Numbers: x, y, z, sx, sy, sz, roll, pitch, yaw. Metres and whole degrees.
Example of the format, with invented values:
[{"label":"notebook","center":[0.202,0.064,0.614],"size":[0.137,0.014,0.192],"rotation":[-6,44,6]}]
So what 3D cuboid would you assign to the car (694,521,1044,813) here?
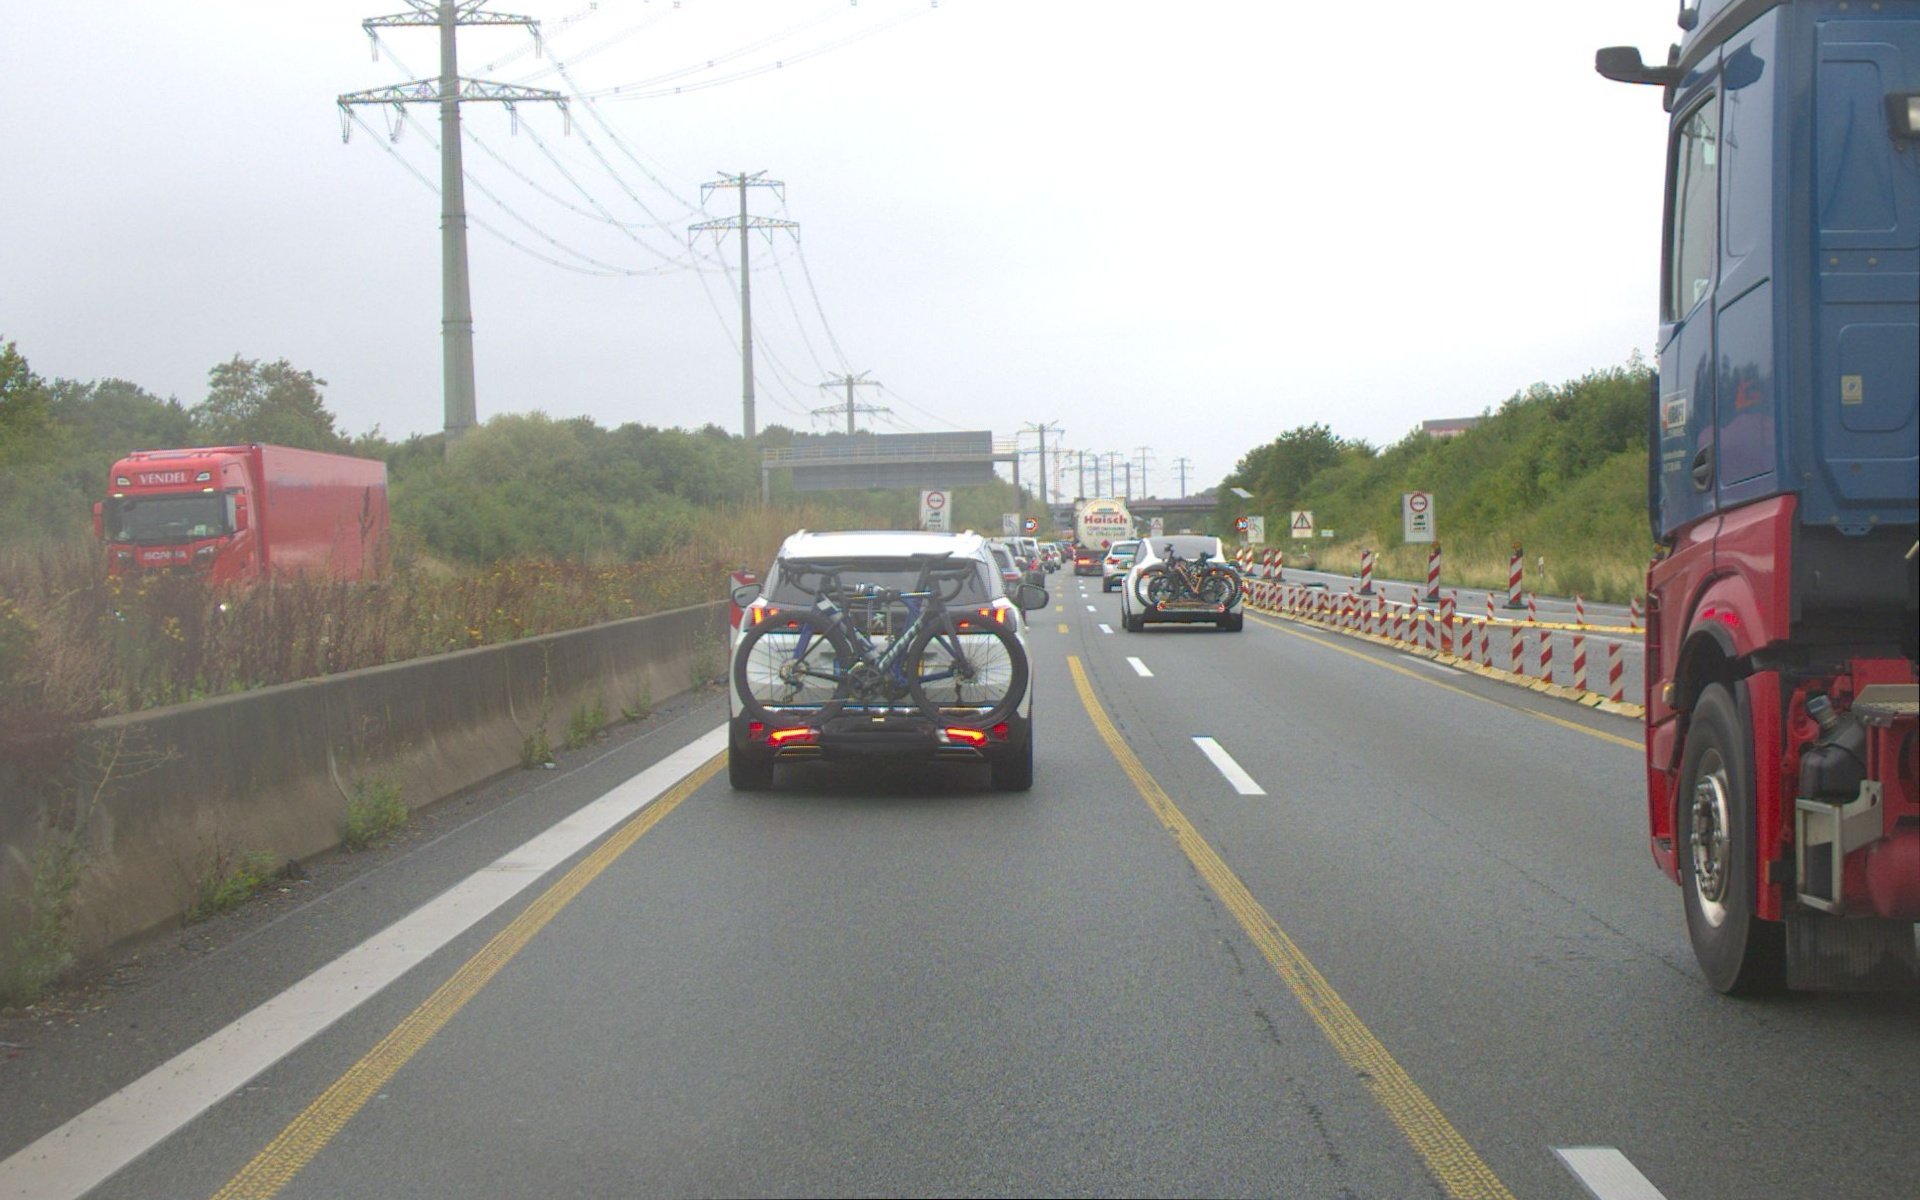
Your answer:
[{"label":"car","center":[-0.491,0.328,21.294],"size":[1.928,1.605,4.595],"rotation":[0,1,0]}]

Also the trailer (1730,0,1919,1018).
[{"label":"trailer","center":[3.770,-0.804,4.656],"size":[2.519,3.821,12.352],"rotation":[1,0,-1]}]

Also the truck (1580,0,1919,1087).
[{"label":"truck","center":[3.624,-0.702,10.921],"size":[2.547,3.933,4.000],"rotation":[1,0,0]}]

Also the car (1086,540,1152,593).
[{"label":"car","center":[4.705,-1.002,102.076],"size":[1.870,1.529,4.197],"rotation":[0,1,1]}]

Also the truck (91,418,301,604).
[{"label":"truck","center":[-15.055,-1.719,68.078],"size":[3.024,3.519,4.927],"rotation":[1,0,0]}]

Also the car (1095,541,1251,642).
[{"label":"car","center":[3.529,-0.183,57.941],"size":[2.045,1.590,5.802],"rotation":[1,1,-2]}]

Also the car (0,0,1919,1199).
[{"label":"car","center":[-0.575,0.703,0.120],"size":[1.993,1.754,4.000],"rotation":[-2,1,0]}]

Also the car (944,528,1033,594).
[{"label":"car","center":[0.676,-0.985,84.537],"size":[1.993,1.578,4.001],"rotation":[0,1,-2]}]

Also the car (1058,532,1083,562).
[{"label":"car","center":[7.576,-3.612,235.287],"size":[1.654,2.007,4.000],"rotation":[0,1,2]}]

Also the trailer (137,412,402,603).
[{"label":"trailer","center":[-15.016,-1.912,76.081],"size":[3.037,3.801,13.978],"rotation":[1,0,0]}]

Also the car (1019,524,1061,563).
[{"label":"car","center":[4.254,-3.003,184.053],"size":[1.993,2.007,4.000],"rotation":[1,0,-2]}]

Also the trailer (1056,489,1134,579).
[{"label":"trailer","center":[6.006,-2.907,154.538],"size":[2.637,3.880,10.544],"rotation":[1,0,-2]}]
